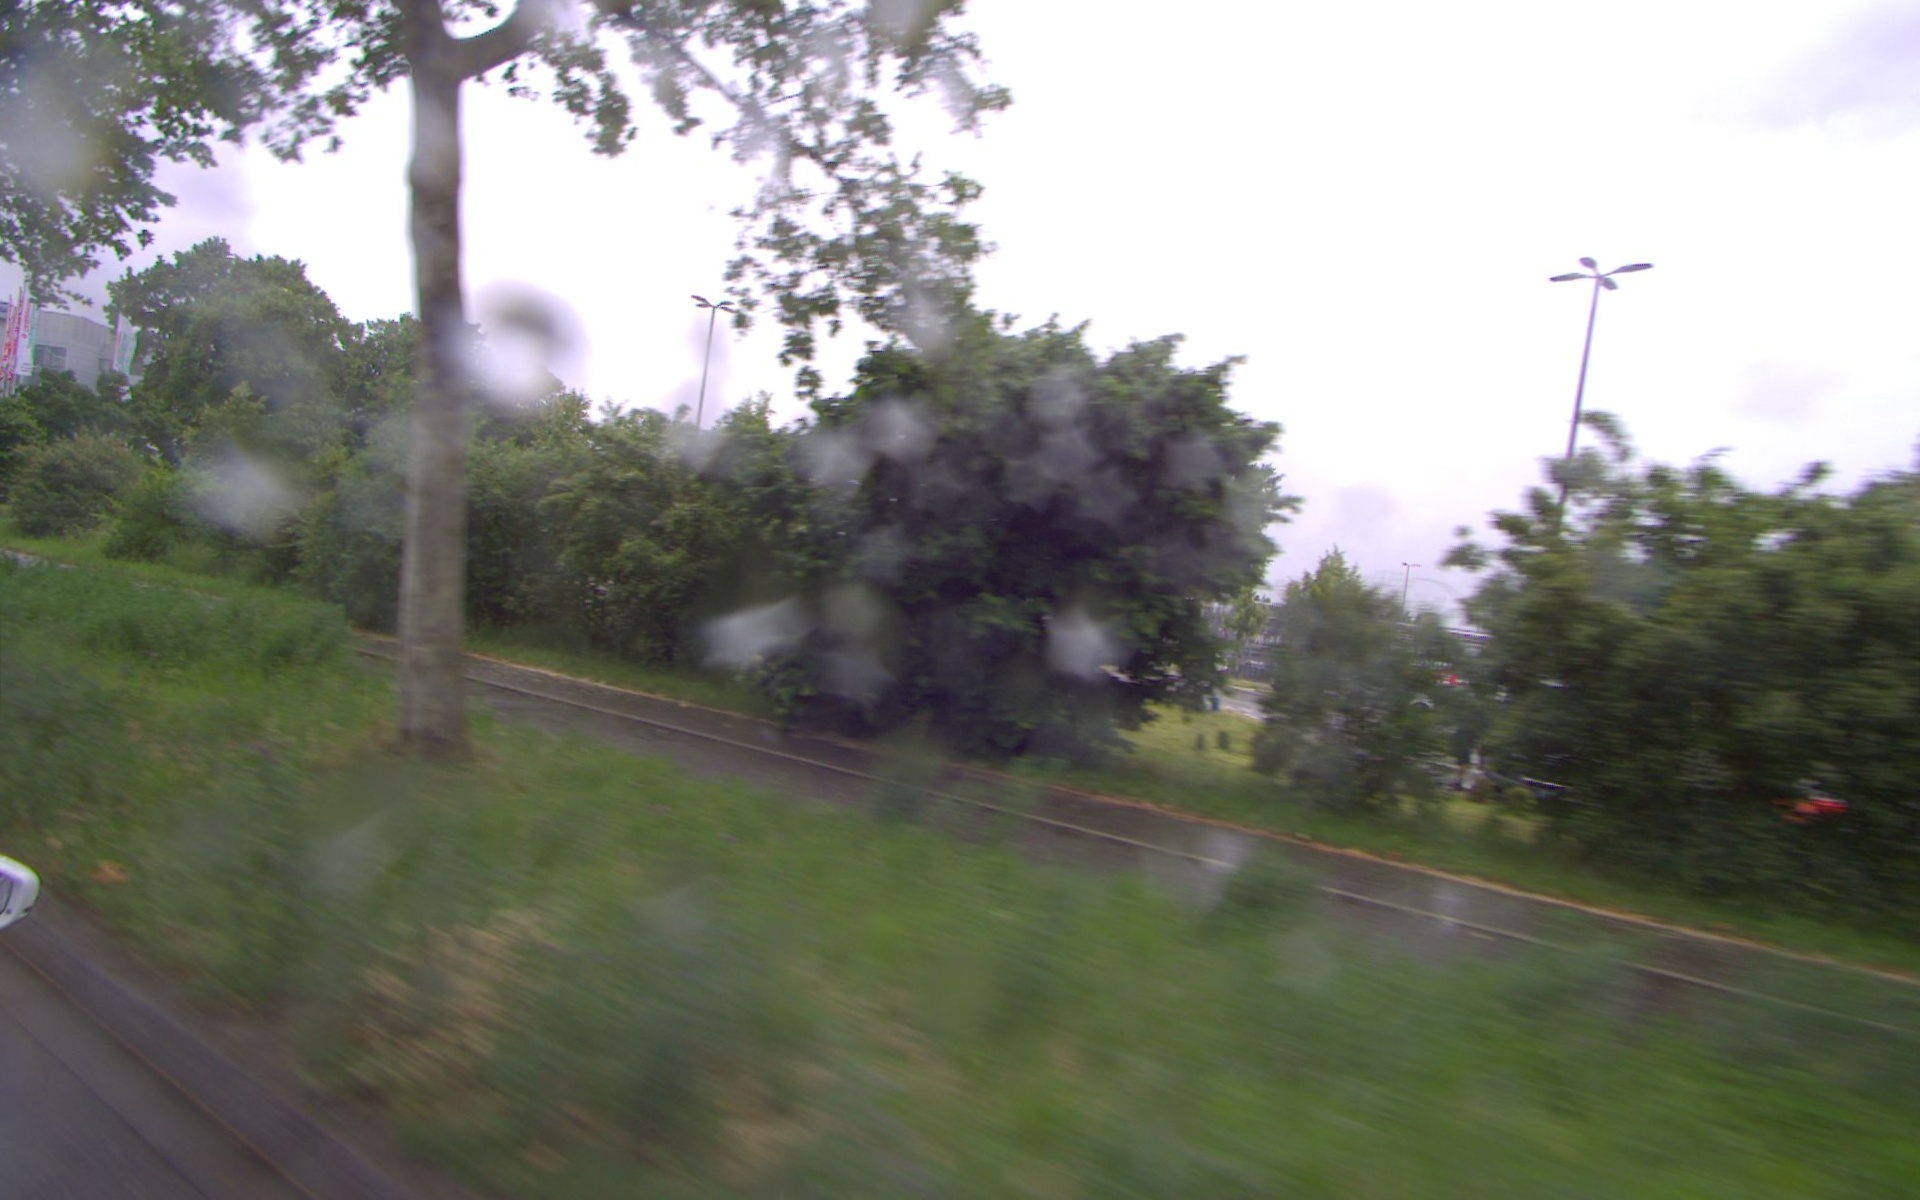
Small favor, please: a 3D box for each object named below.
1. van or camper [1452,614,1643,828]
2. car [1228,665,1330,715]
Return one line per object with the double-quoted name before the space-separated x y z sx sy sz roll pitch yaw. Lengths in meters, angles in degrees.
"van or camper" 9.362 1.865 16.273 1.966 2.573 6.377 7 -2 29
"car" 14.908 4.184 47.113 3.931 1.738 1.997 7 0 -8
